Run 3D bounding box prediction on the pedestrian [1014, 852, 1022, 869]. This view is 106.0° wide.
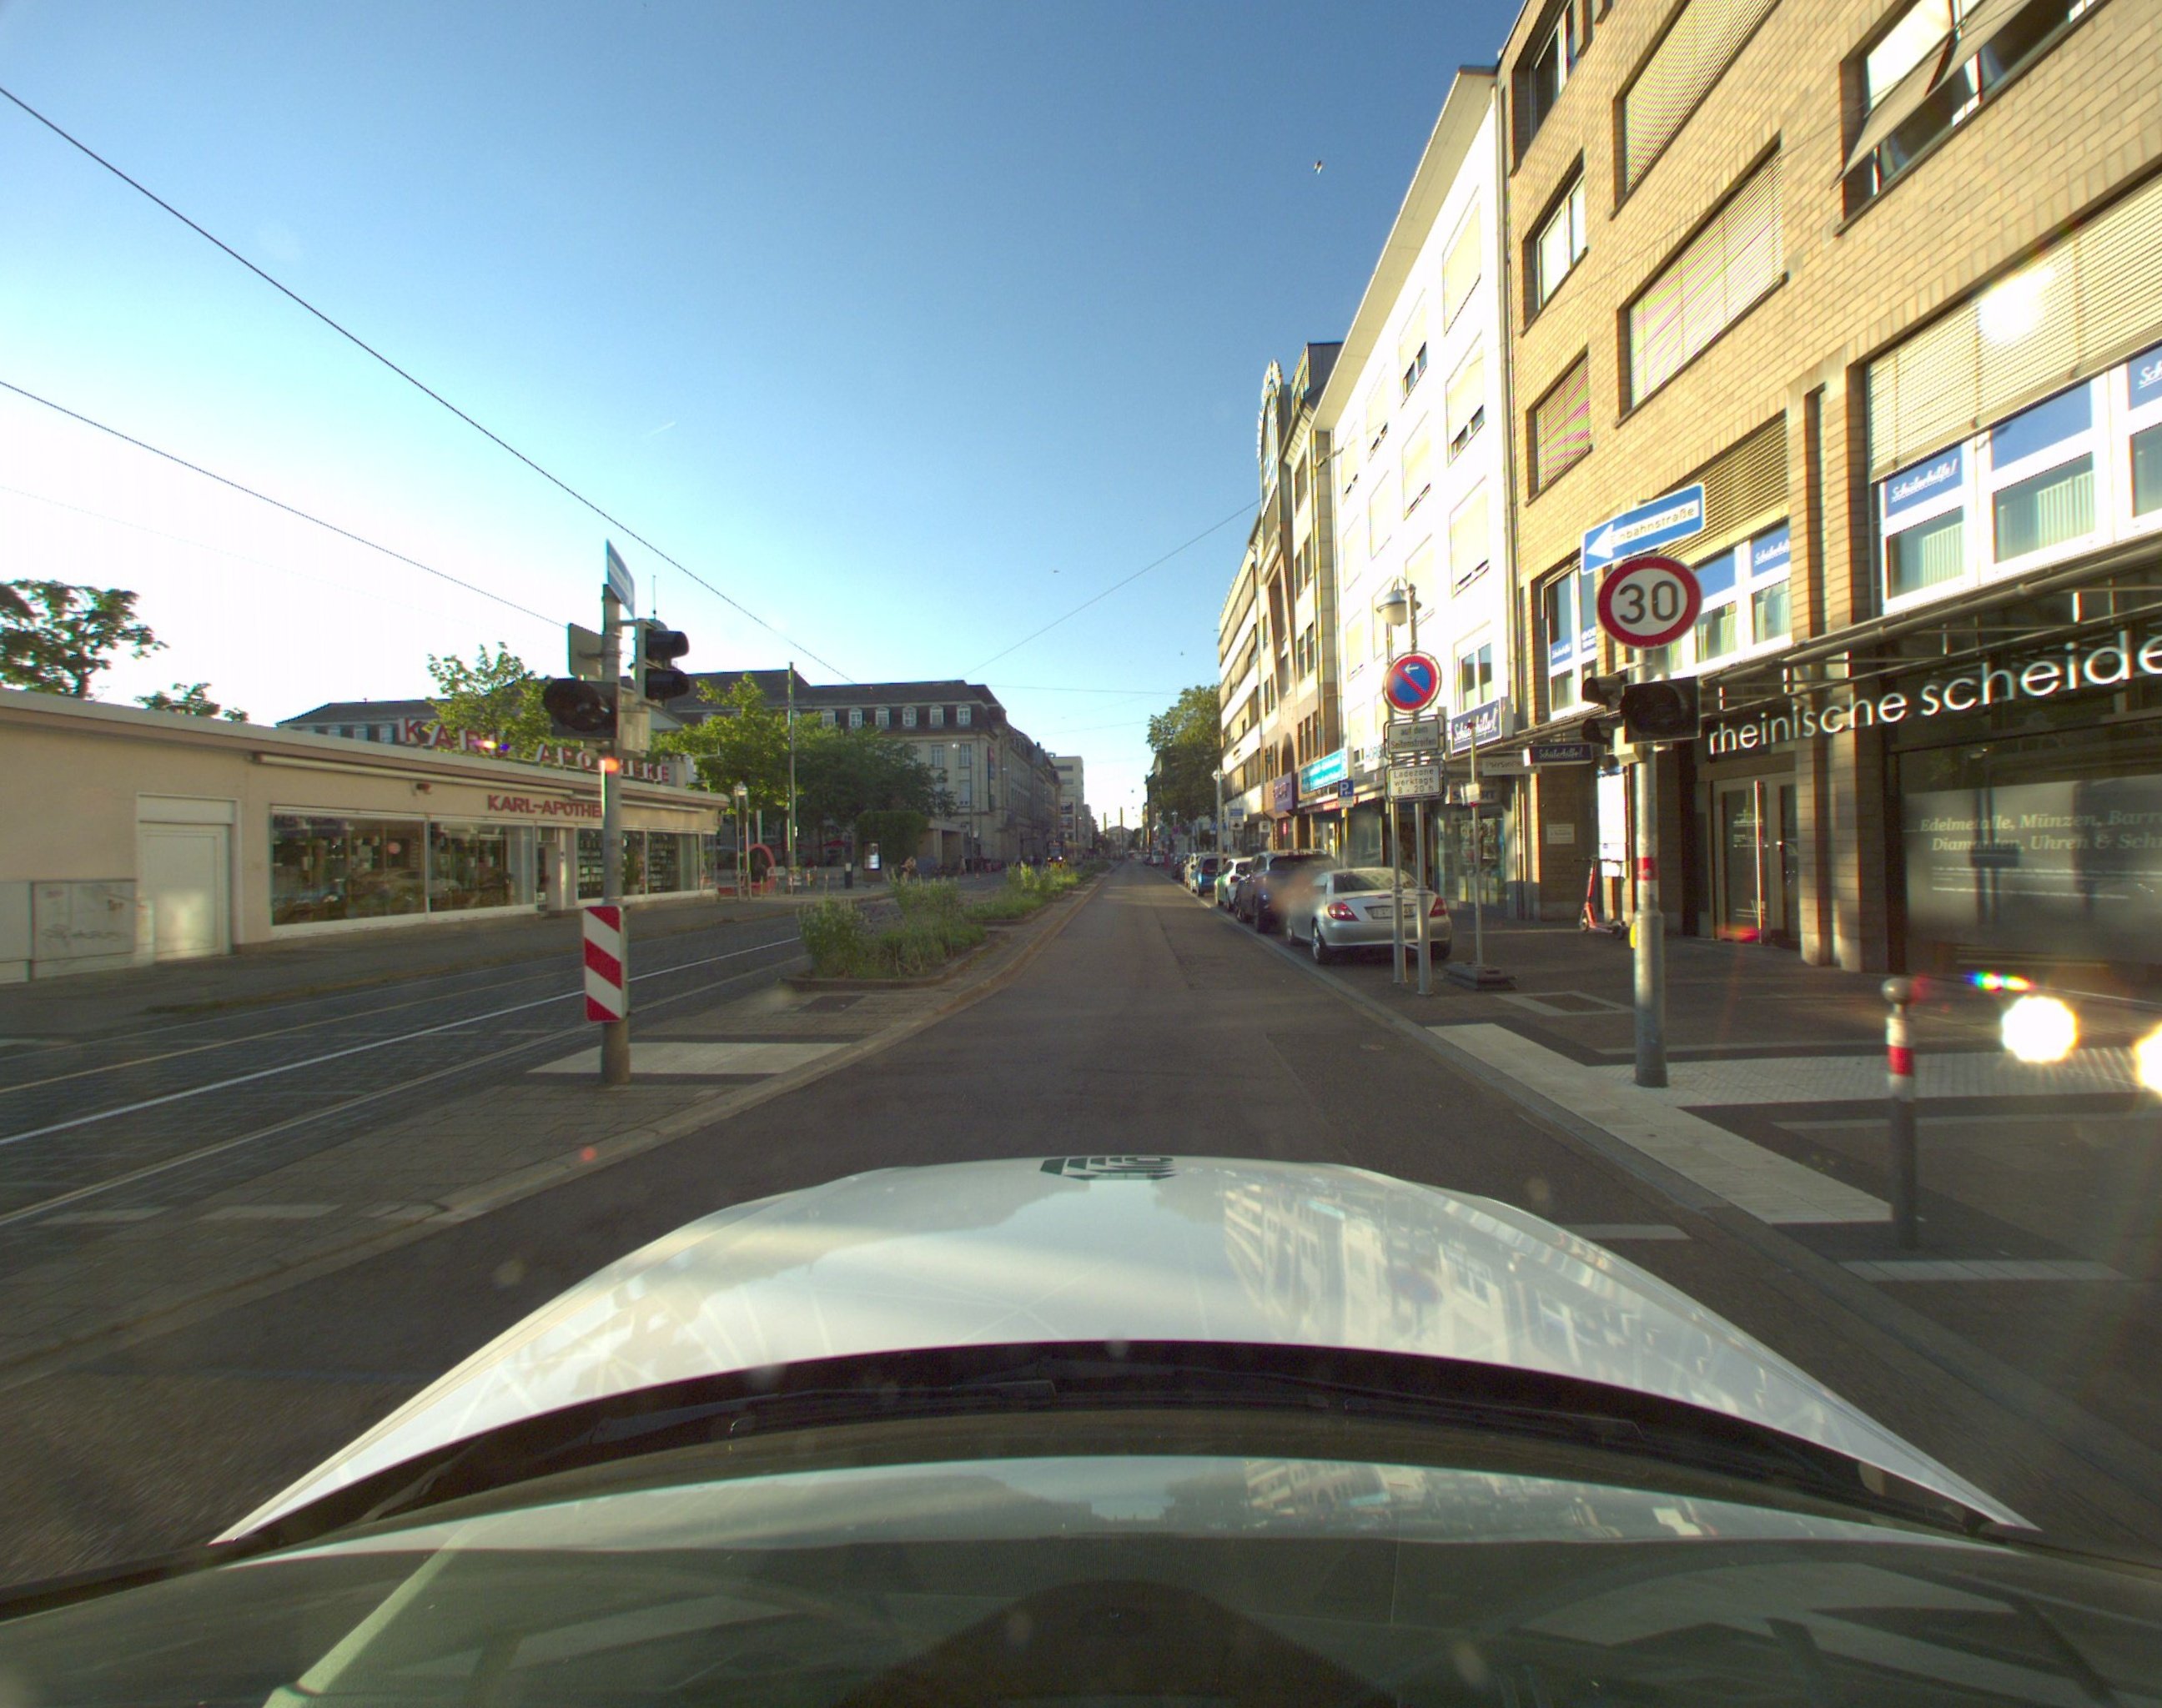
[{"bbox_3d":[-6.997,0.765,90.588,0.690,1.847,0.662,-2,-2,3],"label":"pedestrian"}]

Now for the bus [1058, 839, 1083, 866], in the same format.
[{"bbox_3d":[-1.491,-0.220,118.285,2.810,3.624,8.298,-2,0,4],"label":"bus"}]

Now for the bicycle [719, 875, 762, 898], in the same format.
[{"bbox_3d":[-17.451,1.643,41.768,1.946,1.112,0.455,0,-2,-37],"label":"bicycle"}]

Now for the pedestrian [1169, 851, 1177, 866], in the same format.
[{"bbox_3d":[11.762,0.576,103.928,0.785,1.751,0.893,-1,-2,-4],"label":"pedestrian"}]

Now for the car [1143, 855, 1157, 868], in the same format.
[{"bbox_3d":[10.241,1.112,120.897,1.985,1.761,4.425,-2,-1,3],"label":"car"}]

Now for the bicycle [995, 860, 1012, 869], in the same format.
[{"bbox_3d":[-9.728,1.314,102.811,2.071,1.148,0.574,-1,-2,-2],"label":"bicycle"}]

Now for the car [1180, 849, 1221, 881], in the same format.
[{"bbox_3d":[6.468,0.537,44.554,1.768,1.538,4.582,-2,1,3],"label":"car"}]

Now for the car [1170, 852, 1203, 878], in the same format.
[{"bbox_3d":[6.543,0.669,50.982,1.648,1.380,4.344,-5,0,3],"label":"car"}]

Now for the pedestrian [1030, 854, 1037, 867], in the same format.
[{"bbox_3d":[-6.118,0.851,104.909,0.811,1.707,0.762,-2,-2,4],"label":"pedestrian"}]

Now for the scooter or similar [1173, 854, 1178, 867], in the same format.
[{"bbox_3d":[8.763,0.597,75.569,0.312,1.221,1.276,-2,0,11],"label":"scooter or similar"}]

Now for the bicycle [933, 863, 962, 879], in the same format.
[{"bbox_3d":[-10.942,1.379,66.797,2.232,1.232,0.585,-2,-1,3],"label":"bicycle"}]

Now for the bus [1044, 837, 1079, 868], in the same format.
[{"bbox_3d":[-2.352,-0.171,105.618,2.810,3.651,17.090,-2,0,4],"label":"bus"}]

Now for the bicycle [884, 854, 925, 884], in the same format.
[{"bbox_3d":[-10.450,0.886,48.261,2.380,1.740,0.596,-1,0,-41],"label":"bicycle"}]

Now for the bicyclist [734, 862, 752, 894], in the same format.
[{"bbox_3d":[-17.361,1.233,41.833,0.708,1.668,0.621,0,-3,-38],"label":"bicyclist"}]

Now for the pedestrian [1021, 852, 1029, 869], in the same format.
[{"bbox_3d":[-6.204,0.757,90.557,0.730,1.840,0.715,-2,-2,3],"label":"pedestrian"}]

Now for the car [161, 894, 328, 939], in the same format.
[{"bbox_3d":[-33.922,2.483,33.250,1.790,1.565,4.685,-2,-2,4],"label":"car"}]

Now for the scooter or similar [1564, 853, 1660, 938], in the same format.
[{"bbox_3d":[7.930,0.581,12.241,0.458,1.183,1.573,-2,0,3],"label":"scooter or similar"}]

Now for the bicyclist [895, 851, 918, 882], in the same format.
[{"bbox_3d":[-10.363,0.731,48.298,0.937,1.776,0.959,-1,0,-41],"label":"bicyclist"}]

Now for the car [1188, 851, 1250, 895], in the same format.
[{"bbox_3d":[5.282,0.684,31.766,1.802,1.552,4.840,-1,0,3],"label":"car"}]

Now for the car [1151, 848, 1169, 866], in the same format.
[{"bbox_3d":[9.347,0.335,96.095,1.907,1.981,4.425,-2,-1,3],"label":"car"}]

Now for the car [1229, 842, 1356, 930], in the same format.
[{"bbox_3d":[4.323,0.595,17.274,1.757,1.605,4.291,-1,0,3],"label":"car"}]

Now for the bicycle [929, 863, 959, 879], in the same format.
[{"bbox_3d":[-10.951,1.363,65.130,2.232,1.255,0.580,-2,-2,3],"label":"bicycle"}]

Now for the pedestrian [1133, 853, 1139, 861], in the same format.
[{"bbox_3d":[14.207,0.833,211.188,1.230,1.928,1.018,-1,0,-13],"label":"pedestrian"}]

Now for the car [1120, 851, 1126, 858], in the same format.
[{"bbox_3d":[12.327,0.060,238.499,1.753,1.827,3.573,-2,-2,3],"label":"car"}]

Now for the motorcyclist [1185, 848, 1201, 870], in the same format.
[{"bbox_3d":[9.132,0.417,66.474,0.993,1.813,0.964,-2,-2,21],"label":"motorcyclist"}]

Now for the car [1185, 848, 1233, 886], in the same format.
[{"bbox_3d":[5.815,0.565,37.501,1.808,1.585,4.729,-1,0,5],"label":"car"}]

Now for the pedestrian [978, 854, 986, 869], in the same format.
[{"bbox_3d":[-10.402,0.781,85.835,0.716,1.646,0.656,0,-1,-19],"label":"pedestrian"}]

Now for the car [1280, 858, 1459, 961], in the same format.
[{"bbox_3d":[4.167,0.729,12.418,1.665,1.282,4.070,-2,-1,6],"label":"car"}]

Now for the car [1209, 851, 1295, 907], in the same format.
[{"bbox_3d":[4.867,0.720,23.706,1.724,1.435,4.154,-2,-1,2],"label":"car"}]

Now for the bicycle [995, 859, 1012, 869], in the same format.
[{"bbox_3d":[-9.706,1.294,102.142,2.091,1.148,0.574,-1,-2,-2],"label":"bicycle"}]

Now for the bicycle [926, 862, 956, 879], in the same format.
[{"bbox_3d":[-10.925,1.295,63.599,2.187,1.300,0.580,-2,-2,3],"label":"bicycle"}]

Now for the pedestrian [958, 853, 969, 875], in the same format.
[{"bbox_3d":[-10.583,0.872,73.476,0.720,1.934,0.794,-2,-2,7],"label":"pedestrian"}]
